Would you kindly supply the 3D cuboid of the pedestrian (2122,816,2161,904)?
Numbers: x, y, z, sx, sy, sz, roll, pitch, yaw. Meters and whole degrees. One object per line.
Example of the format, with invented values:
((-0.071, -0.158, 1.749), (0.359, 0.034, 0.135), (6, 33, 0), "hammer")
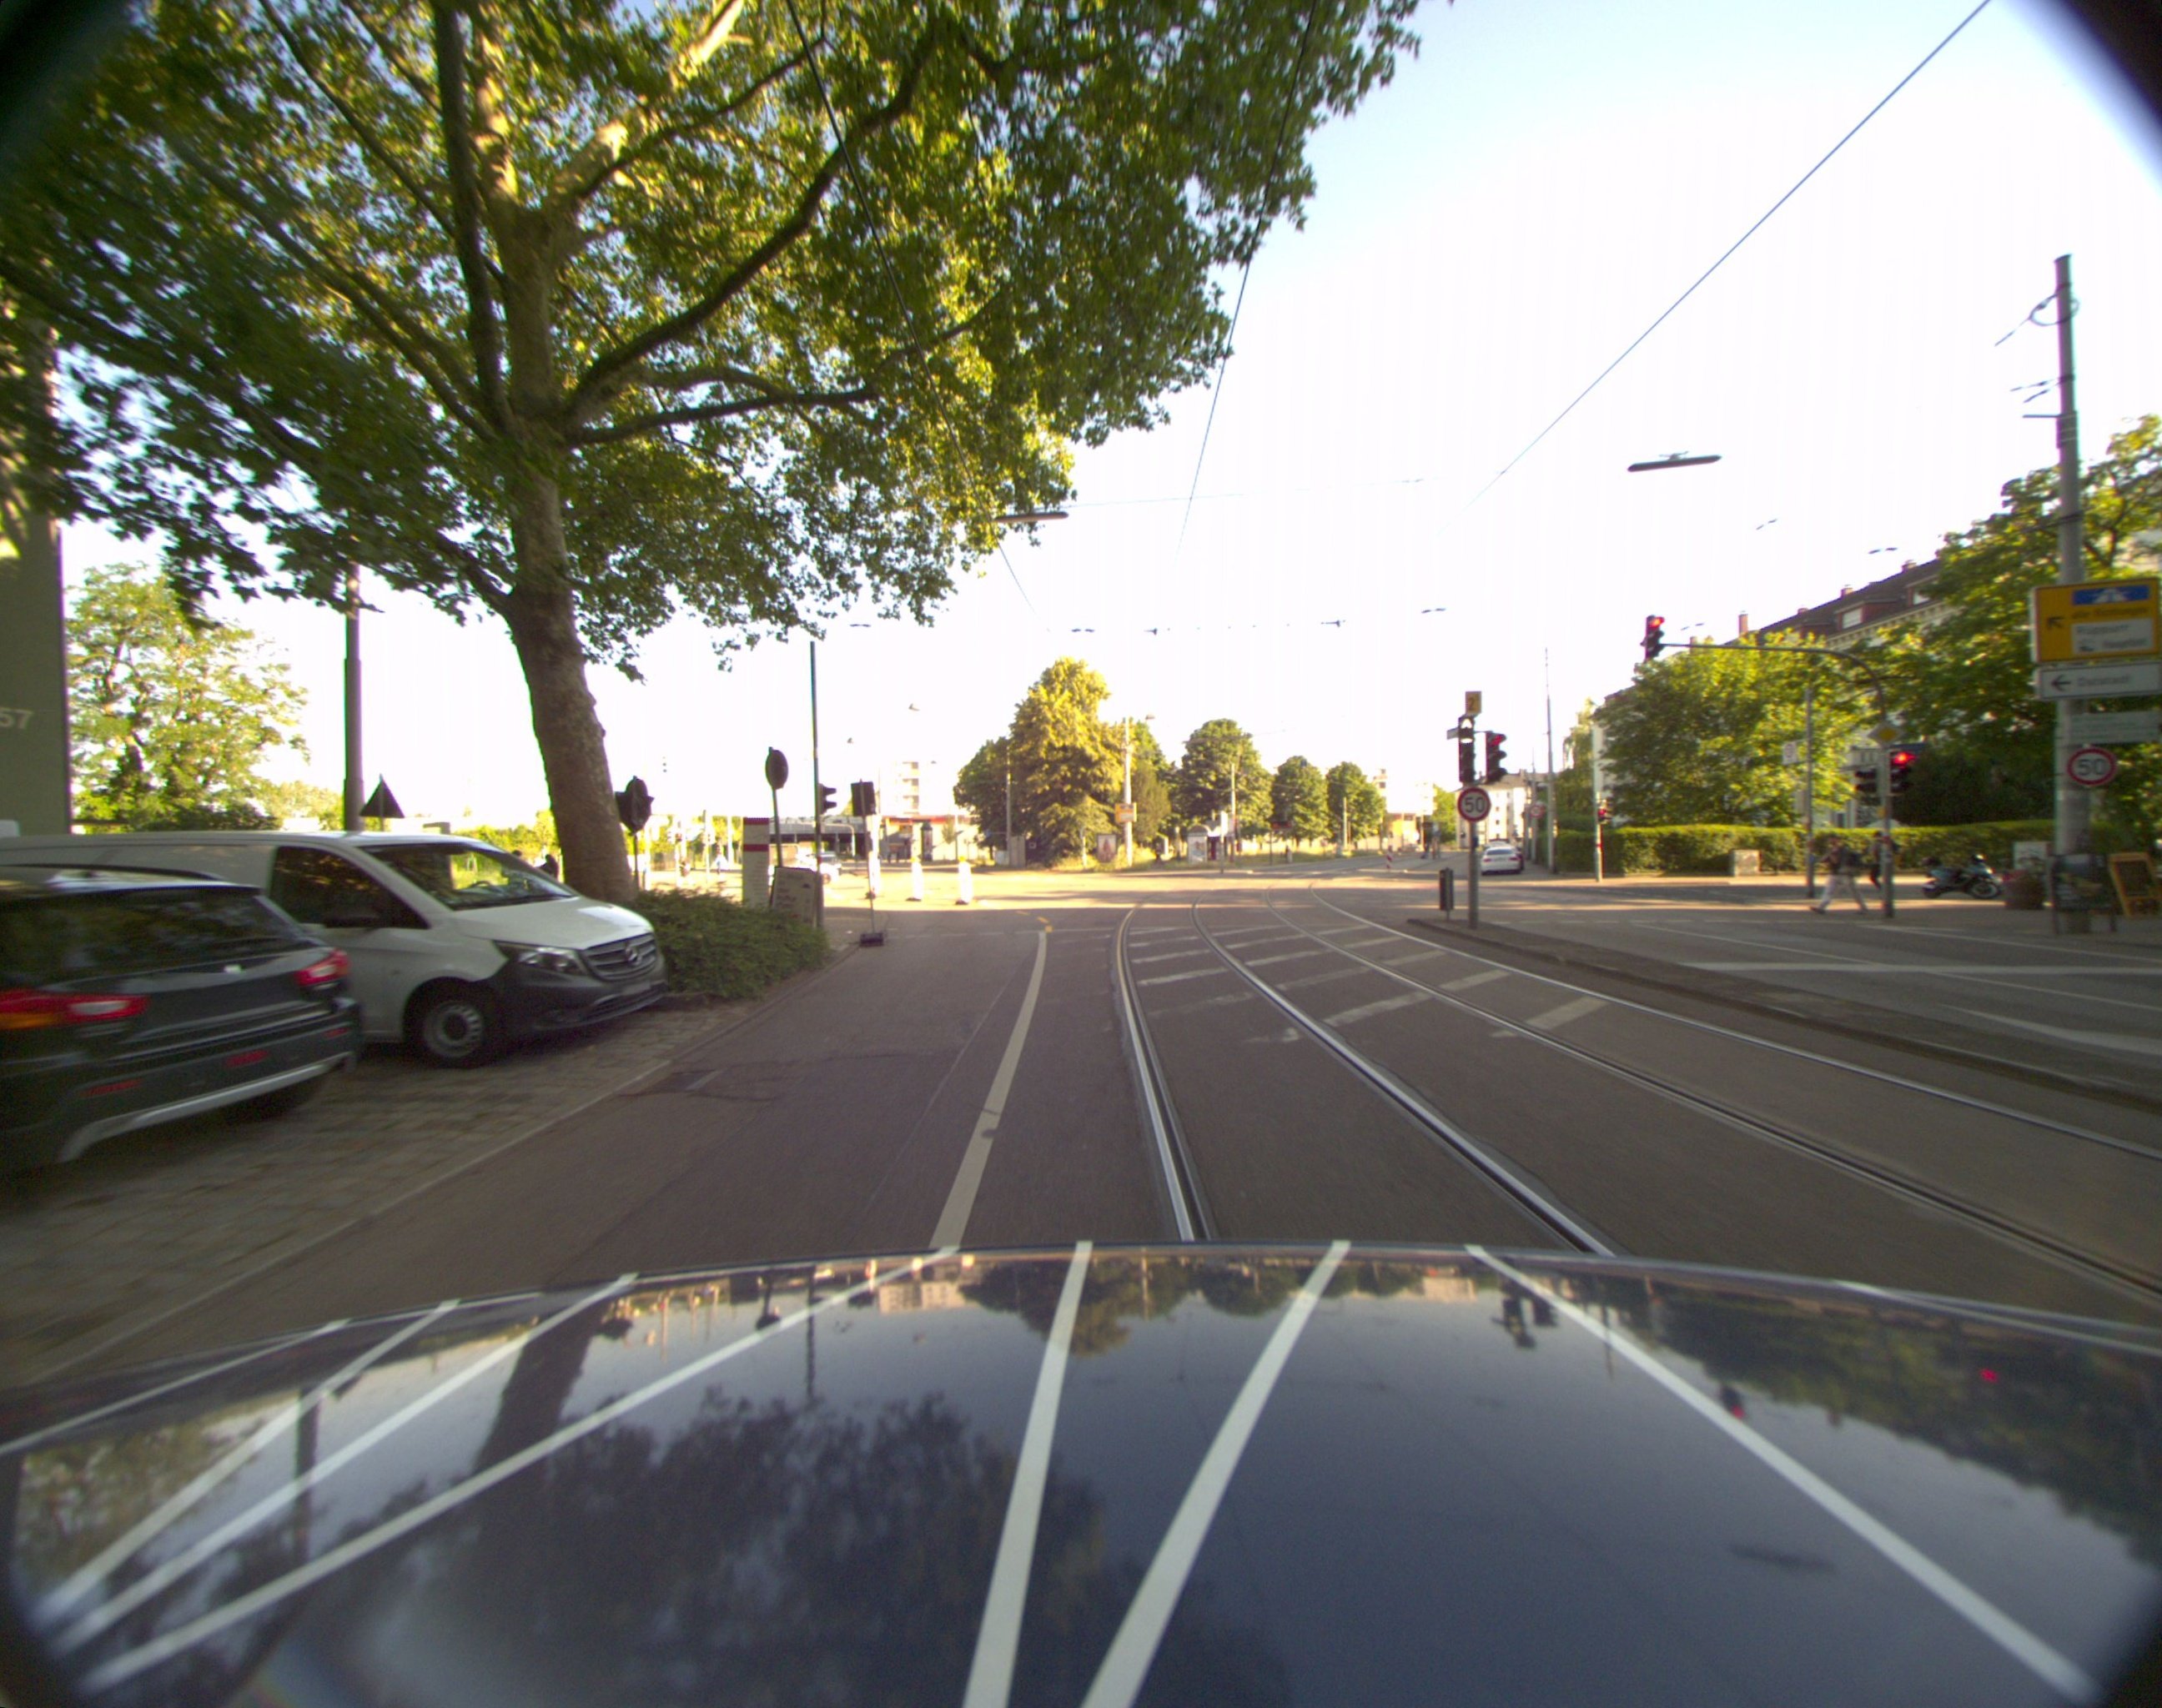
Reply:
((22.529, 0.123, 15.610), (0.835, 1.805, 1.030), (-1, 1, 1), "pedestrian")

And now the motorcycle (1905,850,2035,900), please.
((21.761, 0.489, 18.675), (0.758, 1.125, 2.092), (-1, 1, 1), "motorcycle")

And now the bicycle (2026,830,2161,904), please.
((24.061, 0.269, 17.875), (0.782, 1.627, 2.312), (-1, 1, 1), "bicycle")

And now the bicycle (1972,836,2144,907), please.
((22.955, 0.368, 17.961), (0.845, 1.535, 2.517), (-1, 1, 1), "bicycle")

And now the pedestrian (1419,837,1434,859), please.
((32.119, -0.551, 70.650), (1.001, 2.002, 0.876), (-1, 1, -21), "pedestrian")

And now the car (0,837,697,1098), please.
((-6.353, 0.814, 6.524), (5.126, 1.845, 1.914), (1, 2, 0), "car")

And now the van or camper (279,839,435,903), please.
((-32.248, 0.717, 34.056), (4.521, 2.560, 1.996), (-3, 1, -23), "van or camper")

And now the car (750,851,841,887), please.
((-13.365, 0.677, 35.641), (3.578, 1.428, 1.638), (-3, -1, -37), "car")

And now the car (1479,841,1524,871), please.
((21.582, 0.085, 38.941), (1.814, 1.419, 3.747), (-3, -1, 31), "car")

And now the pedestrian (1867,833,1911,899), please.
((19.701, 0.291, 18.531), (0.472, 1.568, 0.545), (-3, 1, 1), "pedestrian")

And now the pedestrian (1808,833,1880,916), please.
((15.796, 0.415, 15.753), (0.753, 1.670, 0.794), (0, 1, 15), "pedestrian")

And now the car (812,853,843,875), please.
((-17.536, 0.649, 52.491), (1.644, 1.390, 3.331), (-1, 1, -25), "car")

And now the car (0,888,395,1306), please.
((-6.314, 1.019, 3.931), (3.884, 1.596, 1.795), (0, 1, 0), "car")

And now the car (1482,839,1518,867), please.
((27.001, -0.080, 48.897), (1.814, 1.684, 3.989), (-3, -1, 31), "car")

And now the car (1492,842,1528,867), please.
((24.253, 0.030, 42.920), (1.637, 1.315, 3.345), (-3, -1, 31), "car")

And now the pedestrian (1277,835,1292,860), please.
((16.831, -0.537, 62.897), (0.913, 2.002, 0.860), (-1, 1, -4), "pedestrian")
